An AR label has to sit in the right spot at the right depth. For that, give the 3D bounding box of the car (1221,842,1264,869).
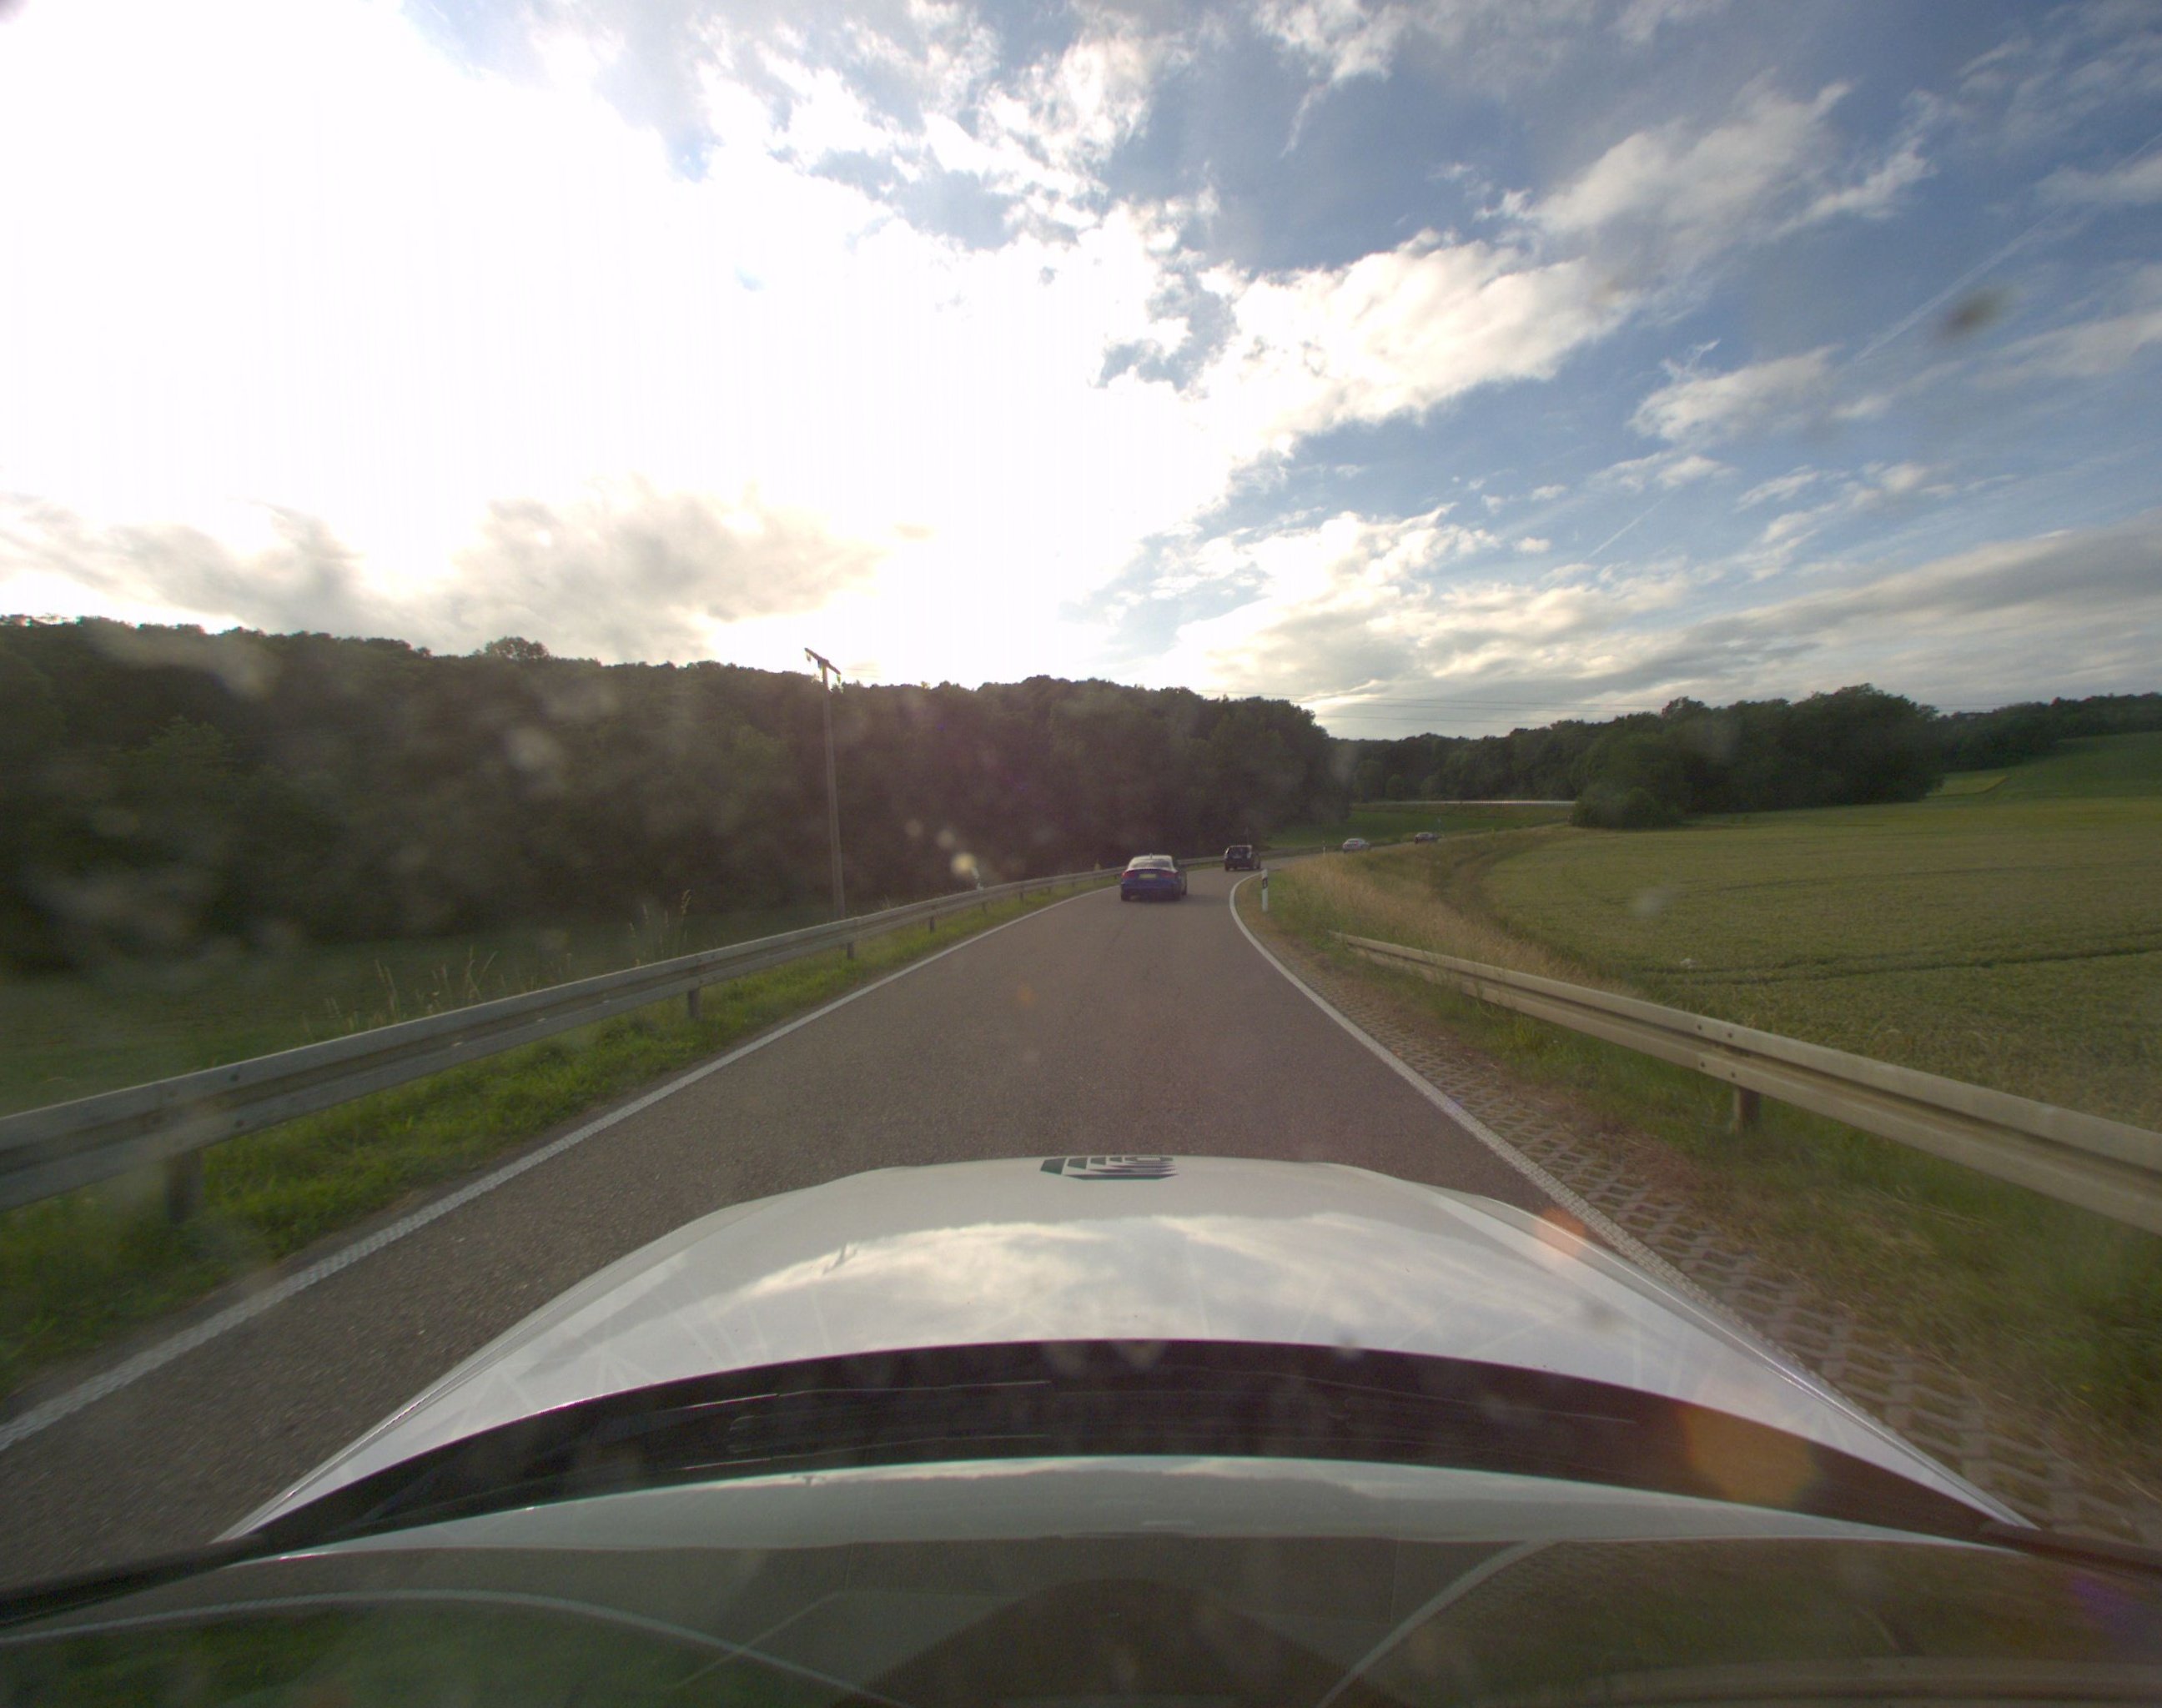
[{"bbox_3d":[10.338,0.088,51.854,1.845,1.568,4.022,-3,0,23],"label":"car"}]

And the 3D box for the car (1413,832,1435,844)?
[{"bbox_3d":[43.206,-2.017,102.630,1.457,1.227,3.320,-5,-1,42],"label":"car"}]

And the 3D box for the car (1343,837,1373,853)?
[{"bbox_3d":[28.705,-0.943,84.407,1.666,1.376,4.026,-4,-1,38],"label":"car"}]

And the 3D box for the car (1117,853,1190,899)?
[{"bbox_3d":[2.406,0.647,25.953,1.806,1.339,4.364,-1,0,11],"label":"car"}]
